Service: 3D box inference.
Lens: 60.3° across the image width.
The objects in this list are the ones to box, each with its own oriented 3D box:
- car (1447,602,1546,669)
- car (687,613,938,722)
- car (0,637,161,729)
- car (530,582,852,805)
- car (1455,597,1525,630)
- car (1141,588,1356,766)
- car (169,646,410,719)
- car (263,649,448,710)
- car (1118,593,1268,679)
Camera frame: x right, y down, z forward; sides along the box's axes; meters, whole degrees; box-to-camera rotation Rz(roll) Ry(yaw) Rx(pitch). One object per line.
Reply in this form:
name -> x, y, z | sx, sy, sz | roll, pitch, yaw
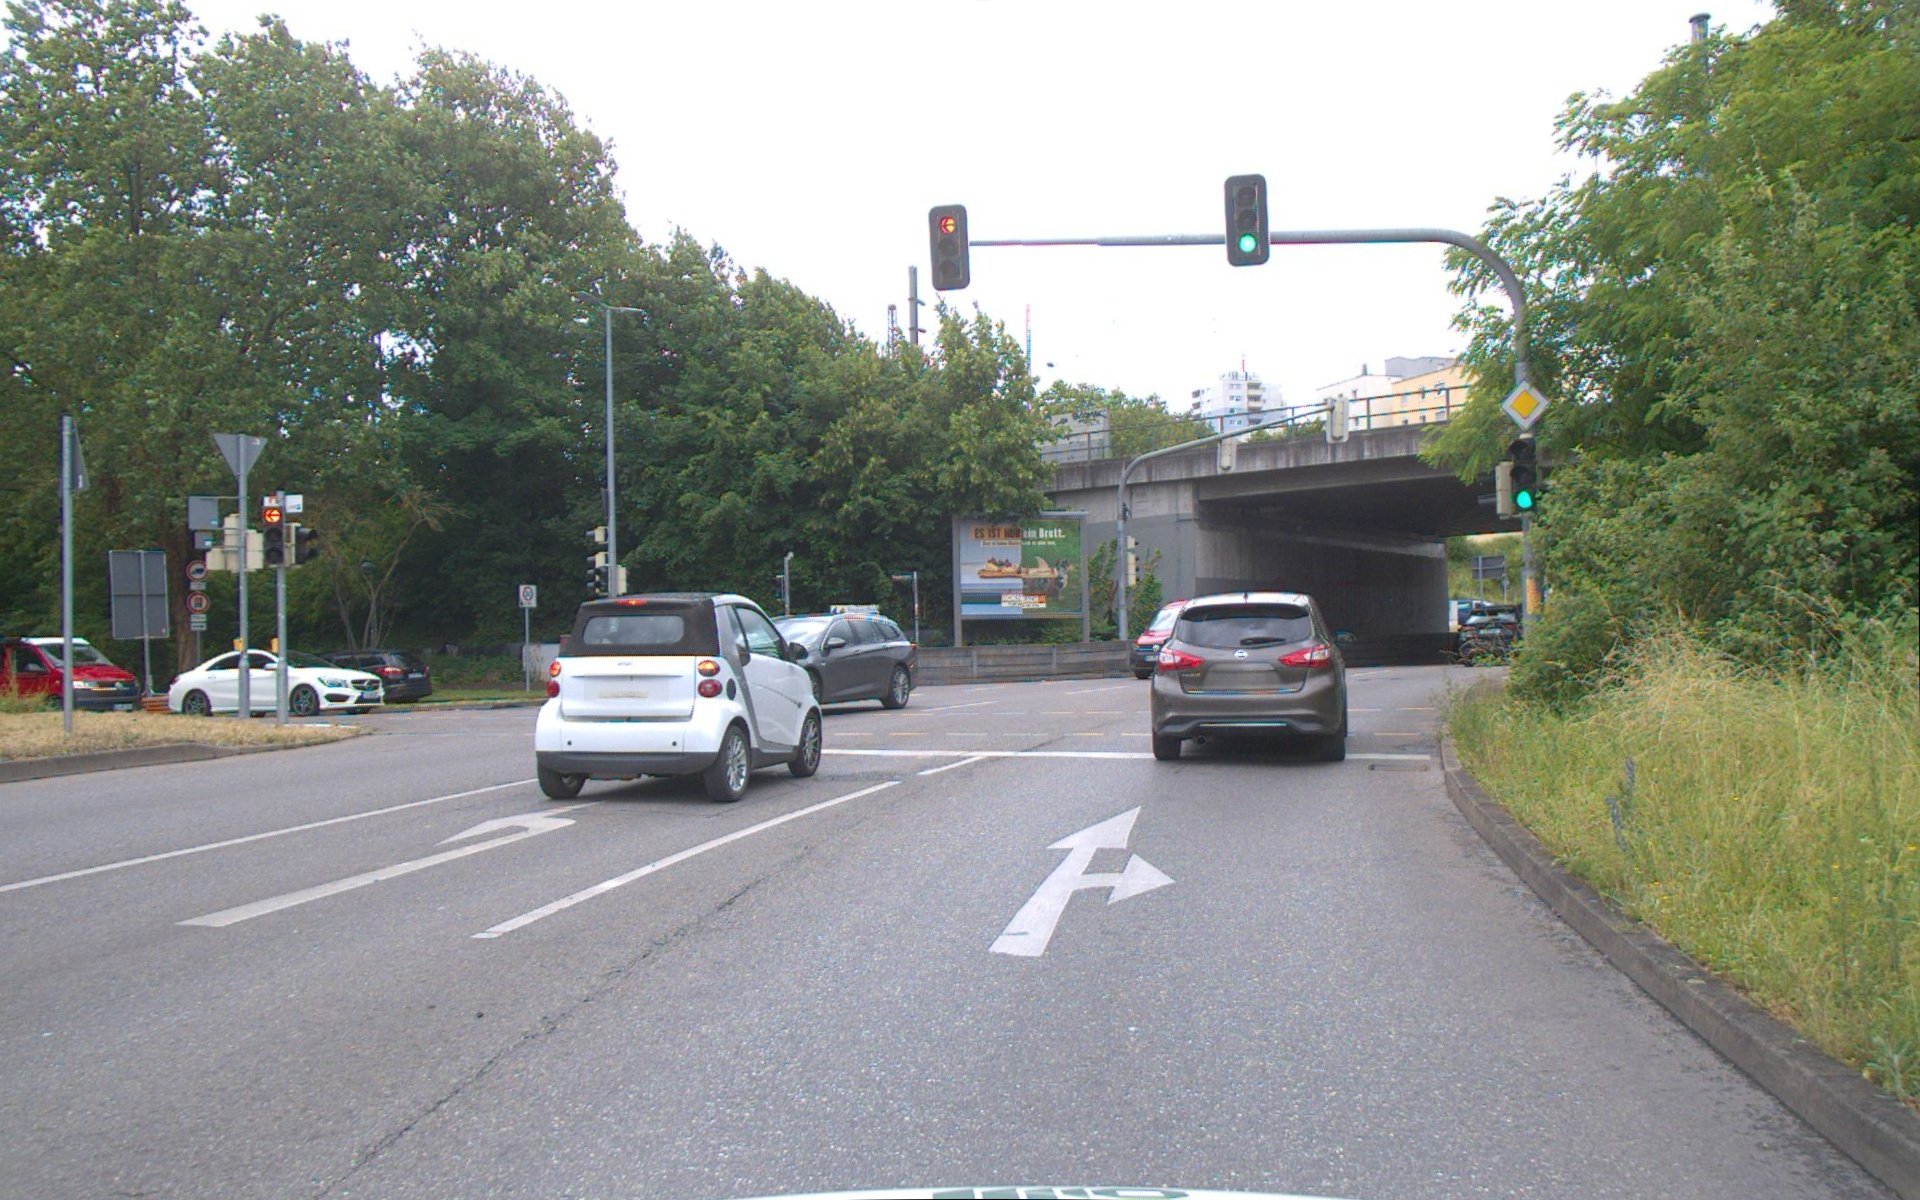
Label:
car -> 13.194, 0.862, 40.557 | 1.862, 1.492, 3.998 | 2, 0, 24
car -> -2.095, 0.947, 24.786 | 1.730, 1.445, 4.417 | -1, -1, 26
car -> -19.637, 1.810, 35.856 | 3.941, 1.845, 1.856 | -3, -2, 18
car -> -2.076, 0.673, 13.537 | 1.542, 1.585, 3.019 | 1, 0, 13
car -> 34.294, 0.880, 107.080 | 3.915, 1.982, 1.995 | -3, -2, 33
car -> 2.959, 0.674, 16.341 | 1.805, 1.519, 4.003 | -2, 0, 13
car -> -13.746, 1.704, 33.982 | 4.312, 1.362, 2.001 | -2, -3, 17
car -> -15.105, 1.982, 41.407 | 3.939, 1.477, 1.856 | -1, -3, 12
car -> 5.478, 0.795, 38.429 | 1.657, 1.857, 4.714 | -2, -1, 32
